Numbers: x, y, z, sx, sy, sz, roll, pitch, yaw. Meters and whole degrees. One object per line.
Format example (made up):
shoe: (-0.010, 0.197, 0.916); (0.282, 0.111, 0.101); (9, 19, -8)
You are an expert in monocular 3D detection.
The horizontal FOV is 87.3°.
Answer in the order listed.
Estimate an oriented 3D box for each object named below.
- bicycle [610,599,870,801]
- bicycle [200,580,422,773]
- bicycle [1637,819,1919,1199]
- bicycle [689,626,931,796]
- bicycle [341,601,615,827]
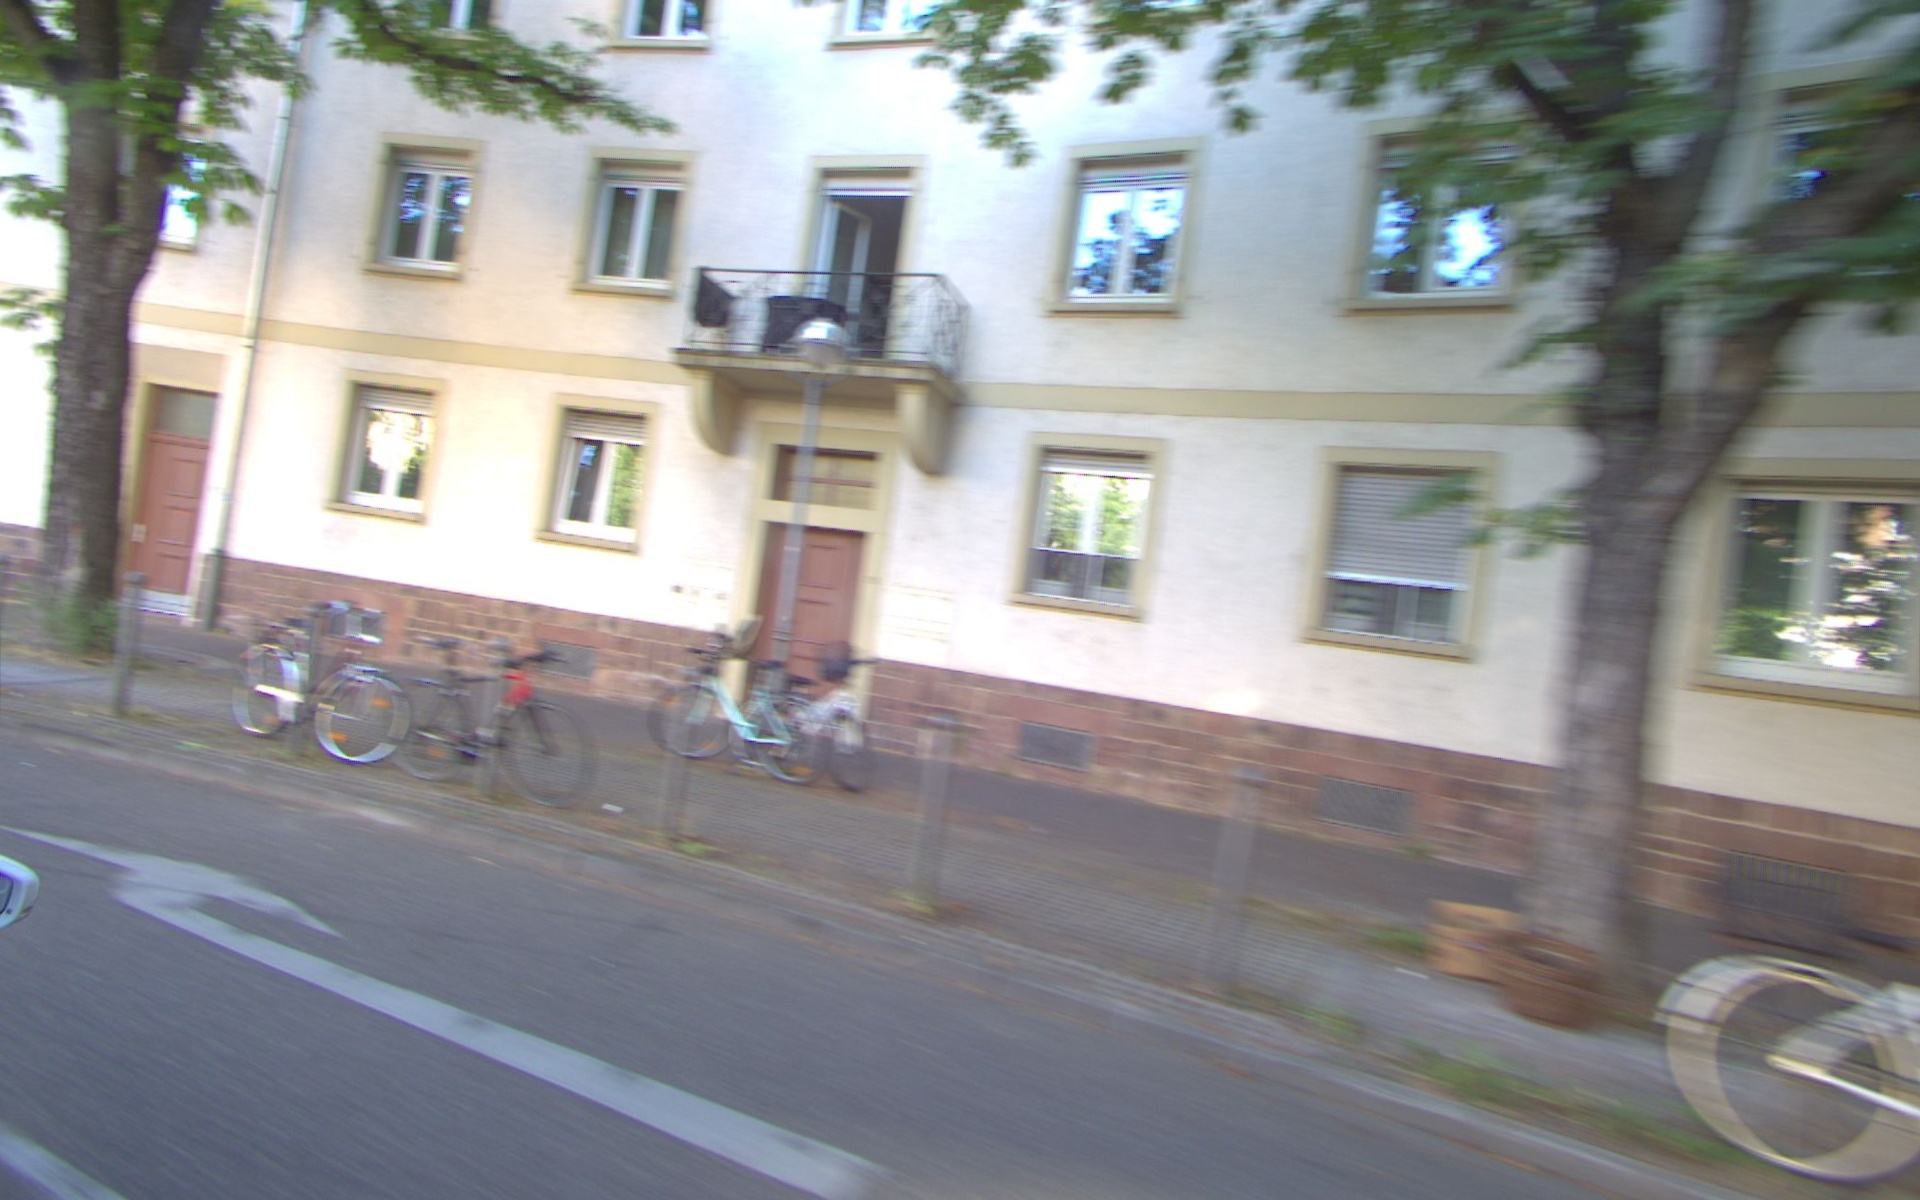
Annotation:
bicycle: (-1.809, 0.764, 8.199); (1.932, 1.292, 0.718); (7, 0, 28)
bicycle: (-4.611, 0.504, 7.119); (1.606, 1.077, 0.481); (8, 2, 26)
bicycle: (3.490, 1.503, 3.313); (1.940, 1.109, 0.514); (7, 0, 28)
bicycle: (-1.313, 0.924, 8.688); (1.933, 1.120, 0.669); (7, -2, 29)
bicycle: (-3.122, 0.681, 6.477); (1.709, 1.121, 0.527); (8, 1, 24)
